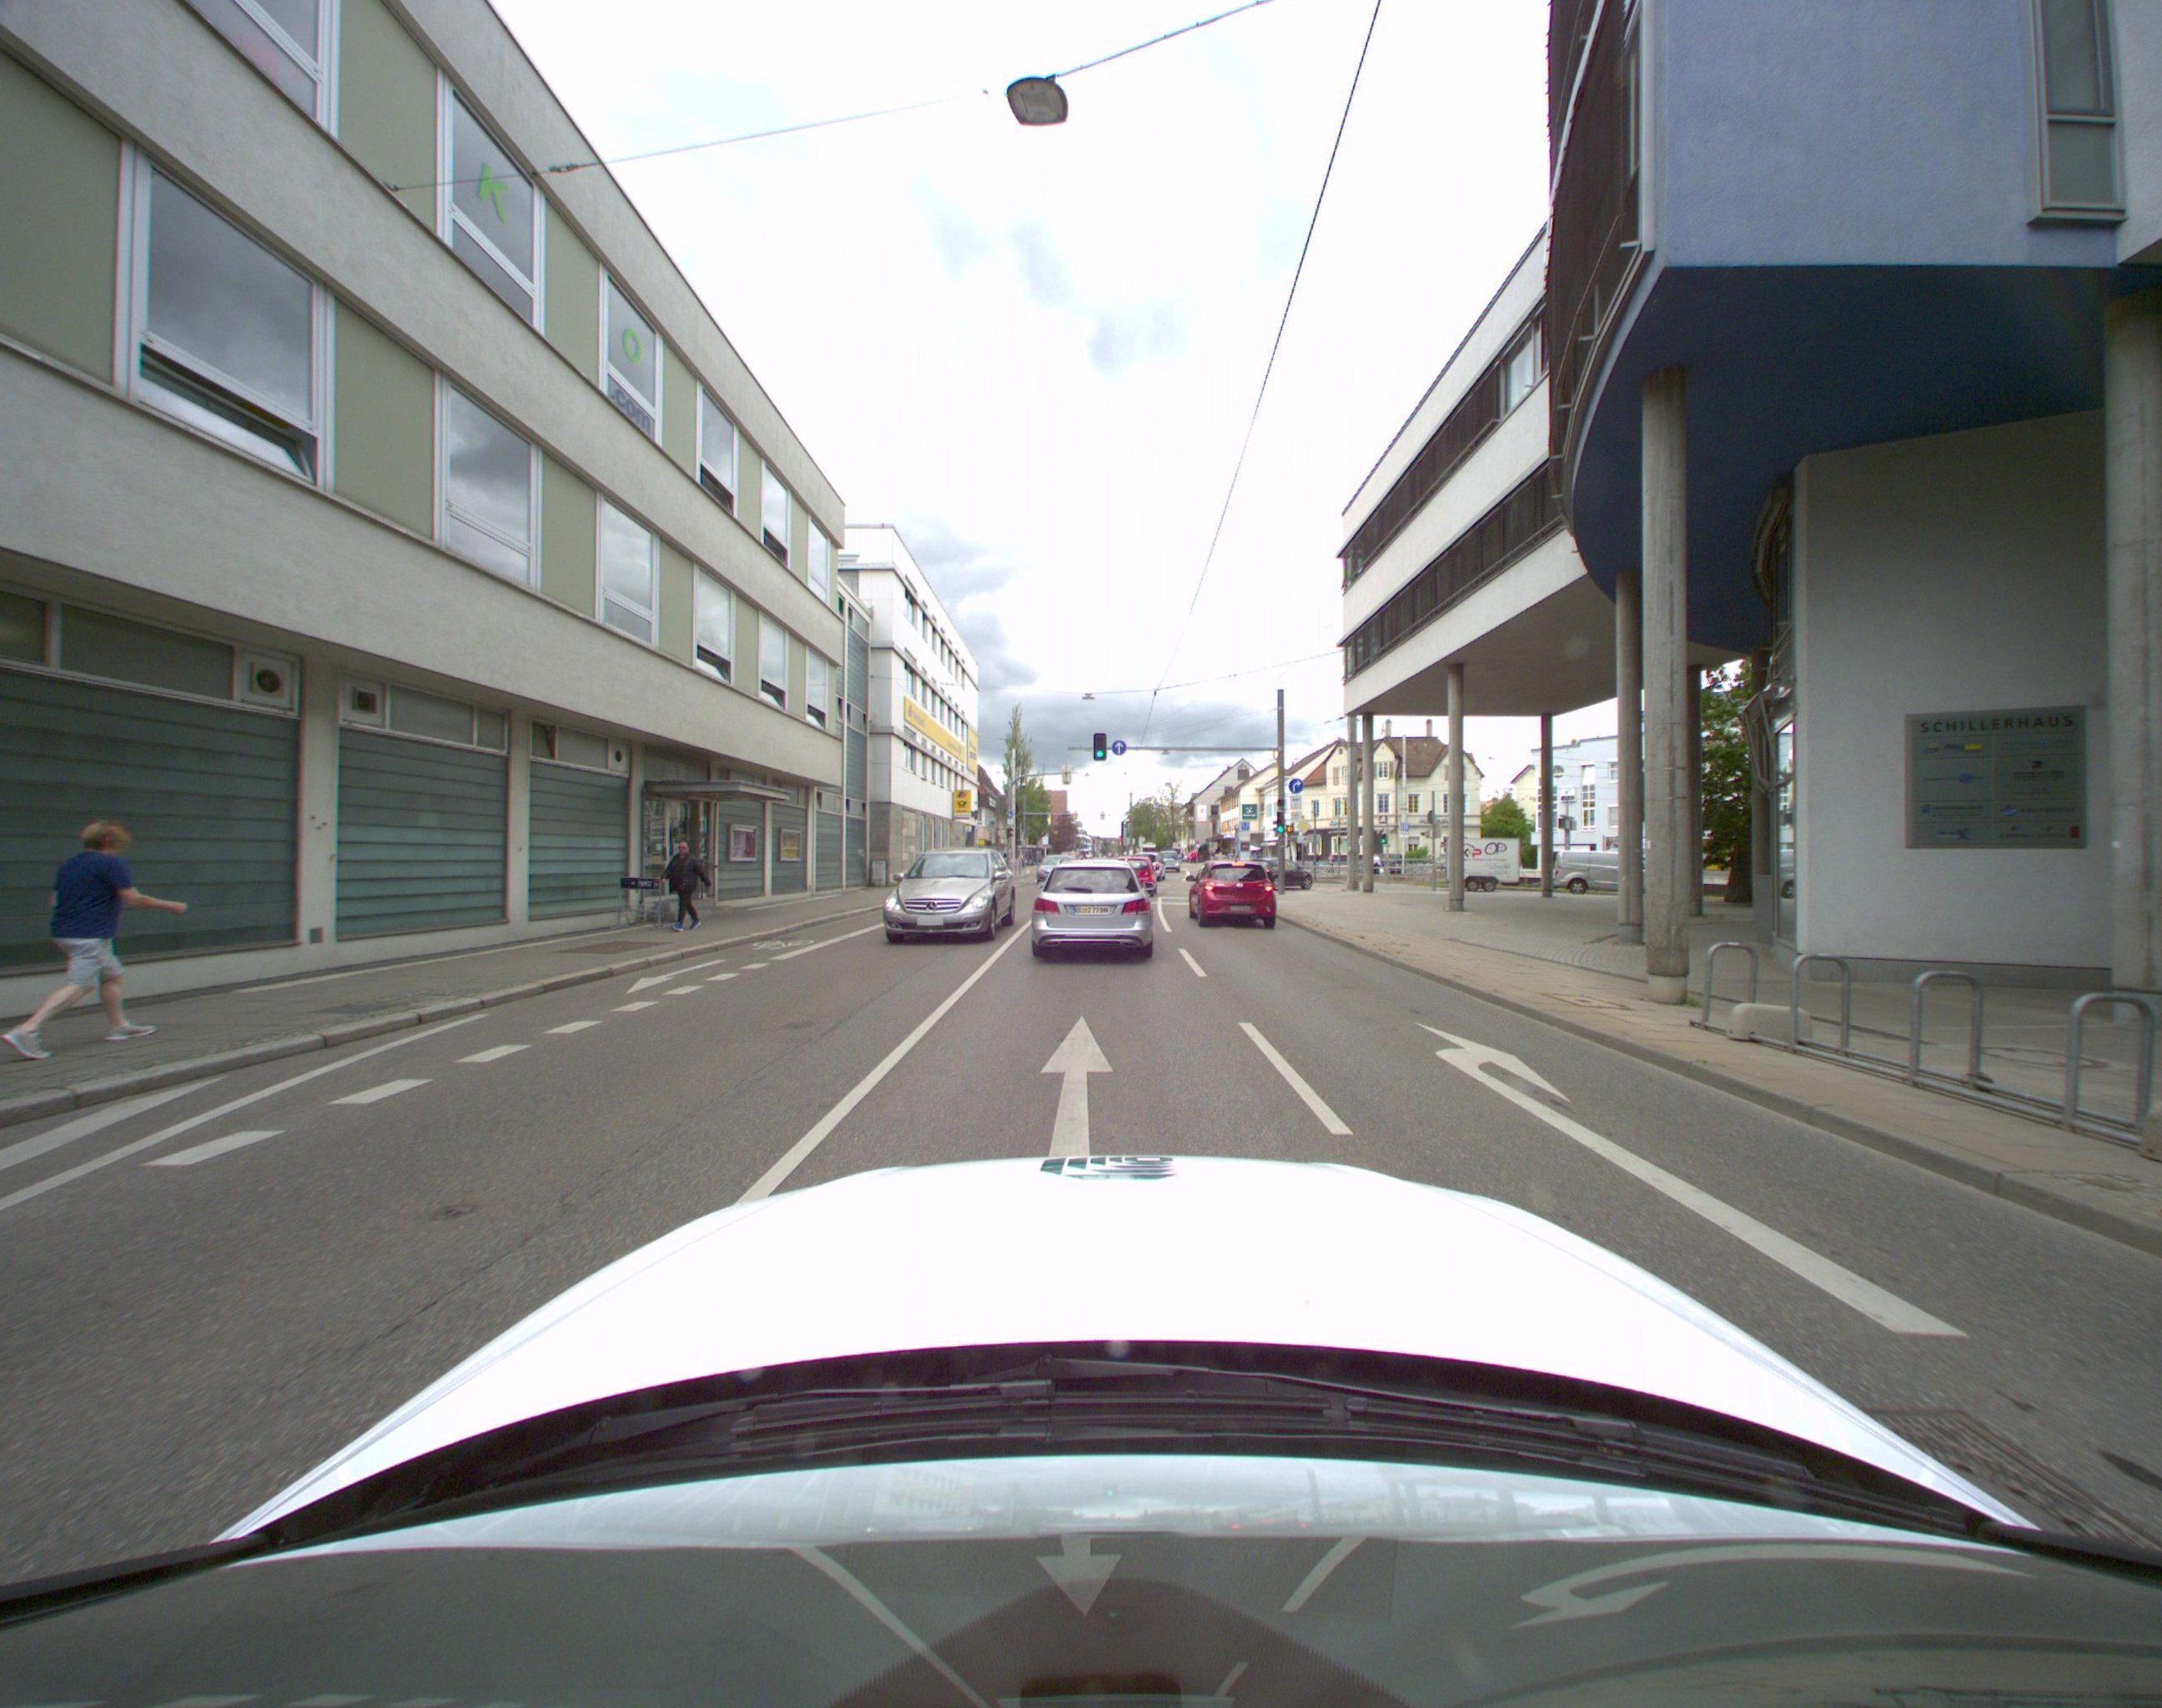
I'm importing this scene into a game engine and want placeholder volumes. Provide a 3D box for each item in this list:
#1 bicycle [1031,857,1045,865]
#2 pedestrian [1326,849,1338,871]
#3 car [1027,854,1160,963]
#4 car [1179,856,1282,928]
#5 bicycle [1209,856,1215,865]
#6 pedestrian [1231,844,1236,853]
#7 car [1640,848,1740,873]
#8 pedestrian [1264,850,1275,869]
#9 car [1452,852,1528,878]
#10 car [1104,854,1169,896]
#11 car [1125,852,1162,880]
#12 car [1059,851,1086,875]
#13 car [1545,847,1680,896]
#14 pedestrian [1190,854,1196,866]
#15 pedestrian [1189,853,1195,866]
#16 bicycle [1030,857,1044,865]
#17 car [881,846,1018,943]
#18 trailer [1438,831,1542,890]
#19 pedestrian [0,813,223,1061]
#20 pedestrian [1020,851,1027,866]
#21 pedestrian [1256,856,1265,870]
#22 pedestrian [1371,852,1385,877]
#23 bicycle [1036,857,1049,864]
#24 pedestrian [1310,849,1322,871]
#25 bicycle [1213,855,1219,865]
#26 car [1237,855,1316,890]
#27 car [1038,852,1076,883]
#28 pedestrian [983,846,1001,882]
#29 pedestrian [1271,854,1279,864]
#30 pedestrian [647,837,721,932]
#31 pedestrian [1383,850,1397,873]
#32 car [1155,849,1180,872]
[{"bbox_3d":[-6.275,1.036,119.227,1.937,1.029,0.529,1,0,-9],"label":"bicycle"},{"bbox_3d":[19.759,0.477,64.165,0.647,1.718,0.787,1,0,-7],"label":"pedestrian"},{"bbox_3d":[0.162,0.755,13.405,1.840,1.508,4.169,0,0,-1],"label":"car"},{"bbox_3d":[3.443,0.818,19.410,1.692,1.452,4.000,2,0,0],"label":"car"},{"bbox_3d":[15.681,0.744,97.503,0.446,1.091,2.150,0,0,2],"label":"bicycle"},{"bbox_3d":[21.153,-0.797,113.050,0.531,1.218,0.579,1,0,-1],"label":"pedestrian"},{"bbox_3d":[38.385,0.394,51.413,1.999,1.471,4.730,2,-1,-38],"label":"car"},{"bbox_3d":[17.311,0.532,74.762,0.838,1.718,0.726,0,0,-2],"label":"pedestrian"},{"bbox_3d":[30.961,0.816,61.777,1.999,1.919,4.730,2,-1,-38],"label":"car"},{"bbox_3d":[2.196,0.740,31.249,1.721,1.508,4.016,0,0,15],"label":"car"},{"bbox_3d":[3.419,0.638,45.324,1.729,1.508,3.999,0,0,-1],"label":"car"},{"bbox_3d":[-0.593,0.655,60.737,1.792,1.694,3.899,-1,0,2],"label":"car"},{"bbox_3d":[23.227,0.741,35.807,4.843,1.946,1.895,1,-1,31],"label":"car"},{"bbox_3d":[14.591,0.774,106.417,0.577,1.469,0.649,1,0,-7],"label":"pedestrian"},{"bbox_3d":[14.936,0.717,109.653,0.578,1.666,0.649,1,0,-9],"label":"pedestrian"},{"bbox_3d":[-6.507,1.035,120.484,1.937,1.029,0.529,1,0,-9],"label":"bicycle"},{"bbox_3d":[-2.411,0.681,16.148,1.769,1.632,4.770,-1,0,2],"label":"car"},{"bbox_3d":[19.085,0.266,38.205,4.270,2.613,1.894,1,-1,24],"label":"trailer"},{"bbox_3d":[-7.359,0.573,6.178,0.587,1.718,1.055,0,0,-1],"label":"pedestrian"},{"bbox_3d":[-6.212,0.503,88.367,0.634,1.606,0.702,0,0,-12],"label":"pedestrian"},{"bbox_3d":[21.445,1.089,97.253,0.642,1.591,0.892,1,0,-19],"label":"pedestrian"},{"bbox_3d":[20.520,0.706,56.281,0.708,1.718,0.642,0,0,-36],"label":"pedestrian"},{"bbox_3d":[-5.867,1.052,123.207,1.937,1.029,0.529,1,0,-9],"label":"bicycle"},{"bbox_3d":[18.669,0.472,64.699,0.707,1.718,0.643,0,0,-31],"label":"pedestrian"},{"bbox_3d":[16.129,0.734,97.496,0.446,1.107,2.150,0,0,2],"label":"bicycle"},{"bbox_3d":[8.911,0.797,36.930,1.718,1.410,4.024,0,1,43],"label":"car"},{"bbox_3d":[-1.165,0.650,41.366,1.651,1.466,3.922,-1,0,2],"label":"car"},{"bbox_3d":[-4.371,0.486,40.086,0.644,1.718,0.785,1,0,8],"label":"pedestrian"},{"bbox_3d":[23.372,0.556,98.116,0.734,1.164,0.642,1,0,-1],"label":"pedestrian"},{"bbox_3d":[-7.511,0.560,15.442,0.859,1.718,1.031,1,0,-1],"label":"pedestrian"},{"bbox_3d":[23.546,0.537,62.055,0.779,1.718,0.654,2,0,32],"label":"pedestrian"},{"bbox_3d":[6.901,0.476,65.026,1.727,1.759,4.003,0,0,3],"label":"car"}]
